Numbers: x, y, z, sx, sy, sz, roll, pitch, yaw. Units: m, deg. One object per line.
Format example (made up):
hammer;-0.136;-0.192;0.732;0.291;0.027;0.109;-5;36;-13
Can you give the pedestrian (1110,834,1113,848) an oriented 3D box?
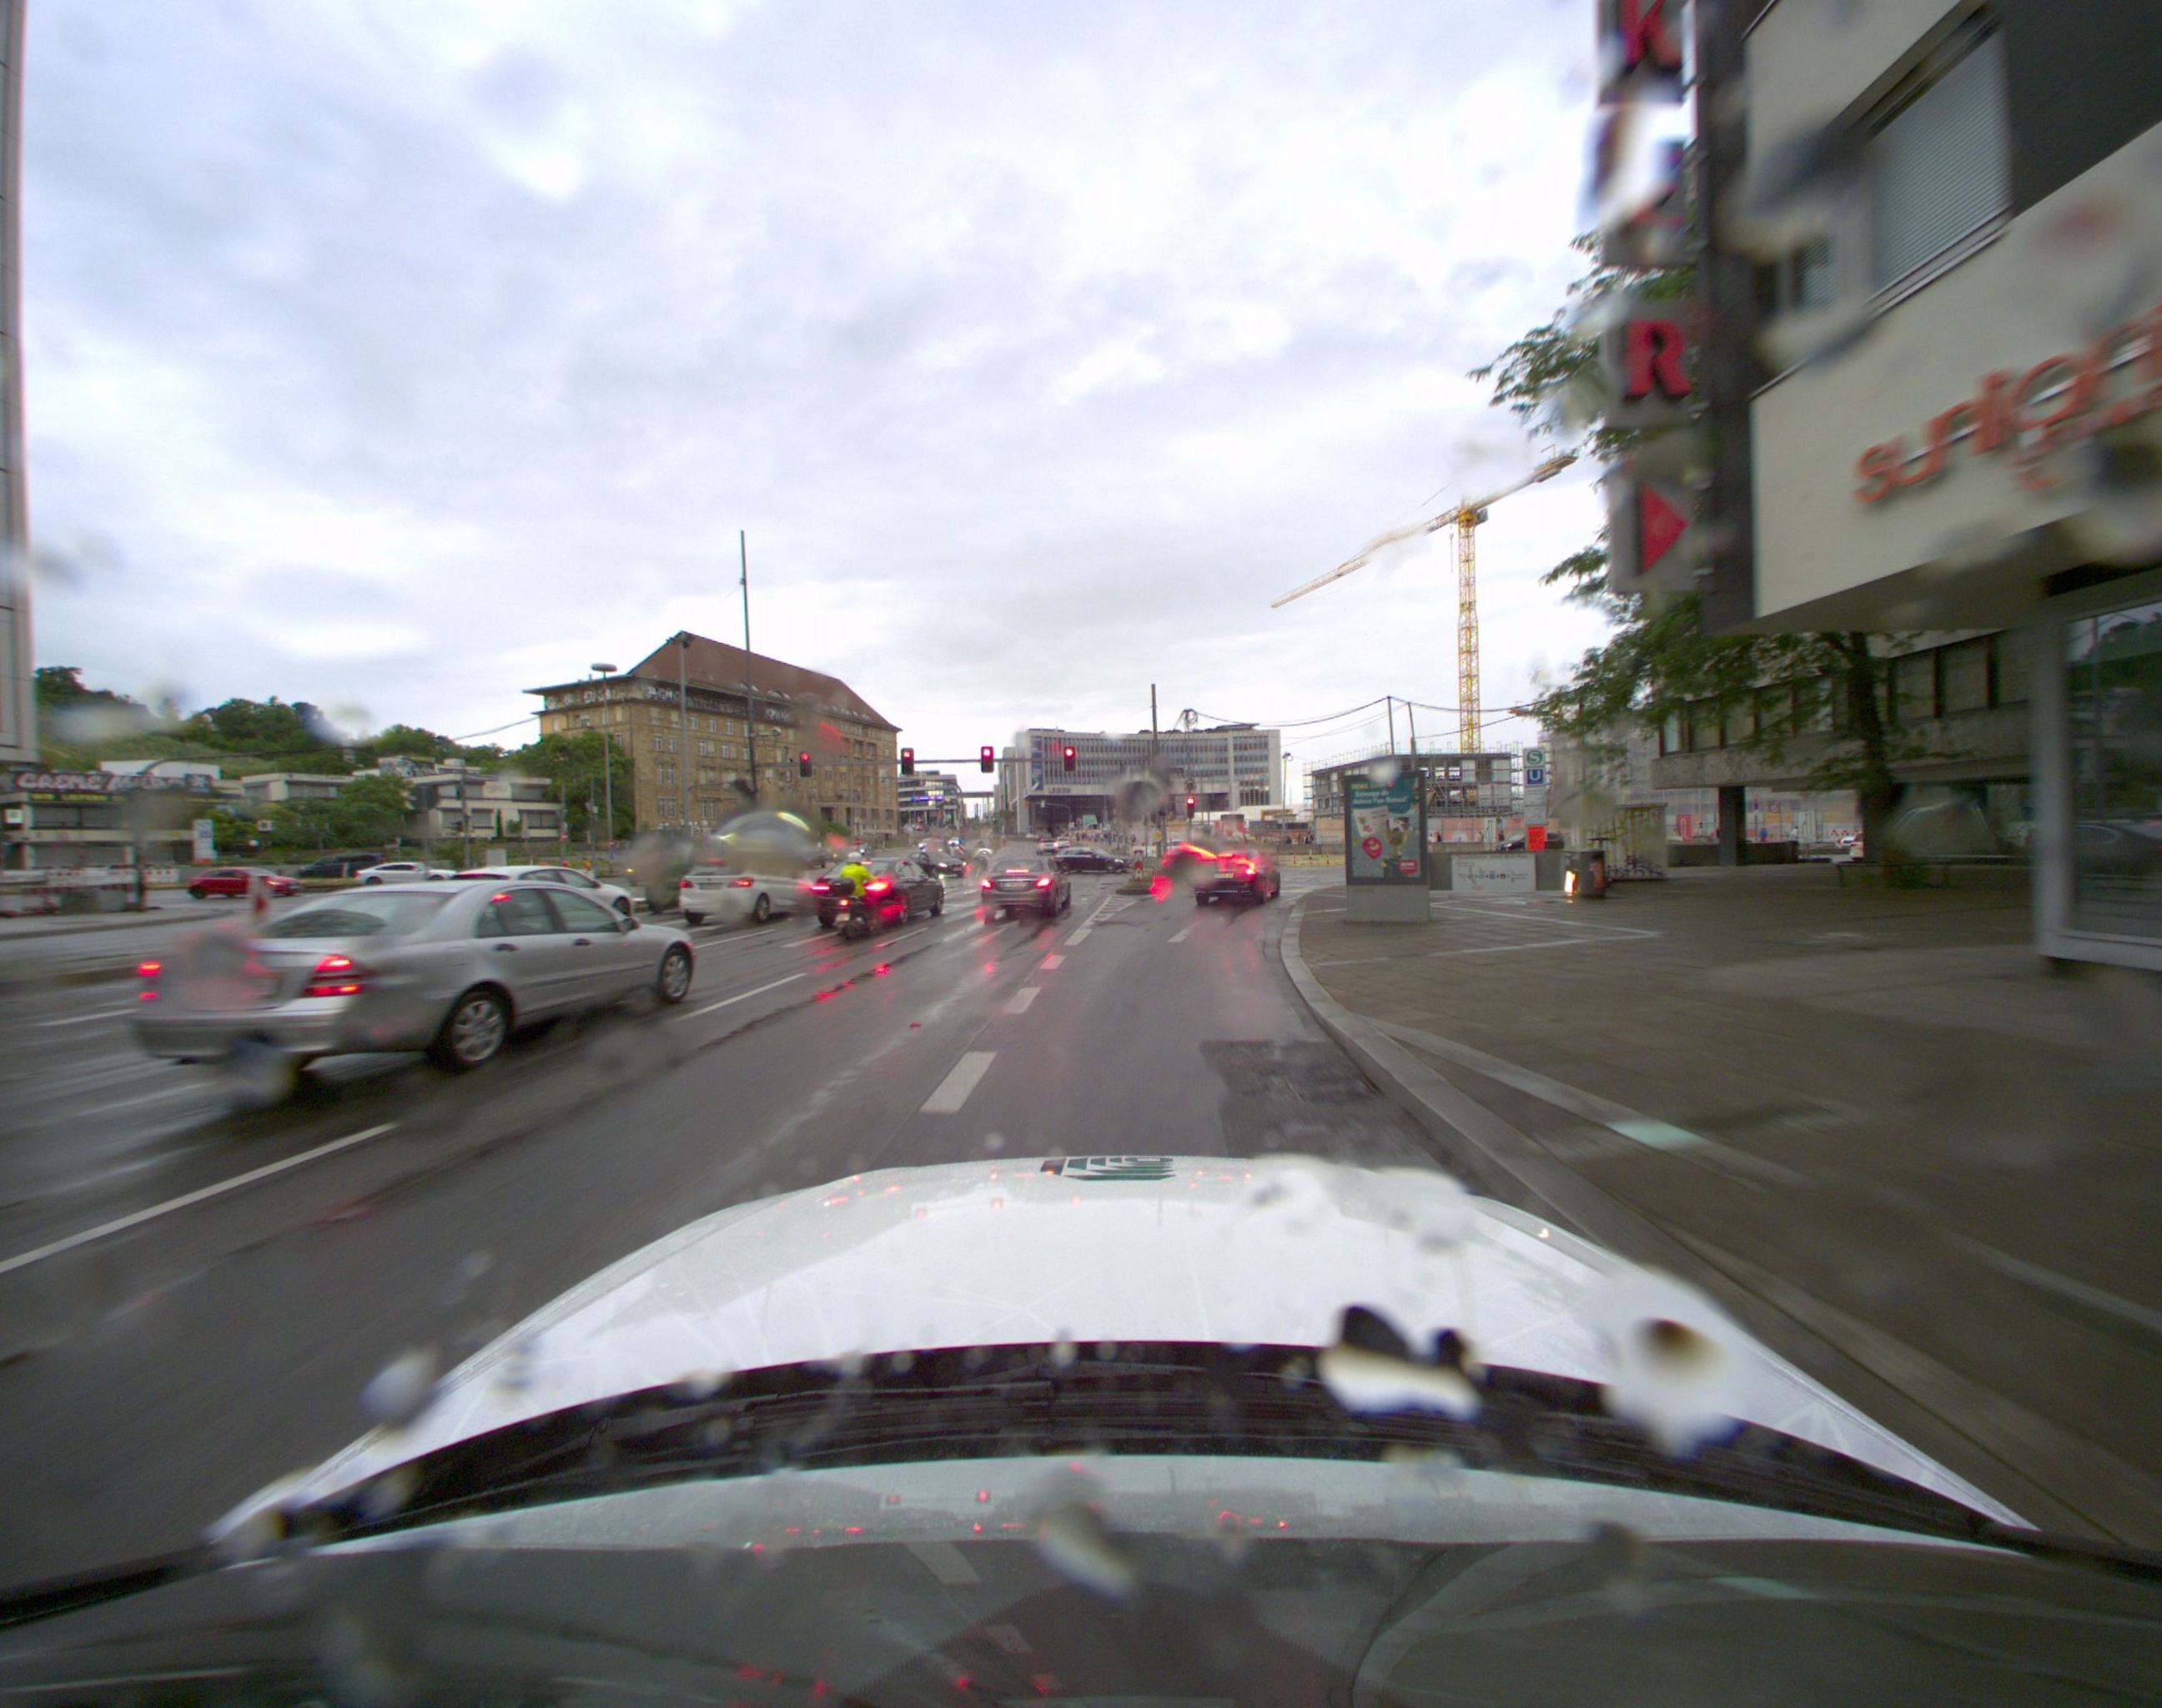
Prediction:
pedestrian;4.143;-1.768;111.779;0.361;1.898;0.575;-1;-1;-6

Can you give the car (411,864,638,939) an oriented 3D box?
car;-11.542;0.918;17.268;1.774;1.373;4.000;-1;0;6

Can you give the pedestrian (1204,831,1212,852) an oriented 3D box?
pedestrian;11.446;-1.127;73.352;0.364;1.898;0.570;-2;0;-38

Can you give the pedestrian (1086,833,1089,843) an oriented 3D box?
pedestrian;1.237;-3.128;155.148;0.361;1.898;0.575;-1;-1;-6

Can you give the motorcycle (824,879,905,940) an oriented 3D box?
motorcycle;-4.144;1.033;15.781;0.939;0.989;2.294;-1;0;0

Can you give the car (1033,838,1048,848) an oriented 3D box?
car;-8.193;-2.195;165.310;1.999;2.014;3.975;0;-1;-18

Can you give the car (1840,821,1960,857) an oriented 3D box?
car;39.025;-0.709;38.873;3.981;1.640;1.996;-1;-1;-6

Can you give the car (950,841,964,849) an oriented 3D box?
car;-21.850;-1.592;143.545;1.762;1.260;3.998;-1;0;-1

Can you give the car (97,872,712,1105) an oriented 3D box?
car;-5.300;0.903;7.360;1.725;1.404;4.386;-1;0;3

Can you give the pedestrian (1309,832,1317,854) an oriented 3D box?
pedestrian;20.538;-0.984;72.190;0.572;1.898;0.362;-1;-1;3

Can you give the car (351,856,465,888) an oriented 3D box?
car;-36.968;0.974;44.880;4.393;1.662;1.988;-1;-1;-18

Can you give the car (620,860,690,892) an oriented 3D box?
car;-22.551;1.149;43.304;1.693;1.519;3.872;-3;0;-1

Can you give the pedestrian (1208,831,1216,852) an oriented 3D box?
pedestrian;11.835;-1.149;73.686;0.364;1.898;0.570;0;-1;-39

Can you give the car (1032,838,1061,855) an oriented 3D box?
car;-3.531;-0.731;83.122;1.999;1.640;3.976;0;-1;-17

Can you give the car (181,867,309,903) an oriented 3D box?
car;-39.267;1.430;38.351;3.984;1.596;1.671;-1;-1;-8

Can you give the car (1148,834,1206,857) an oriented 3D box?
car;7.839;-0.658;66.619;4.368;1.766;2.010;-1;-1;19

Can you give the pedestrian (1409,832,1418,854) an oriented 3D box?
pedestrian;28.939;-0.954;70.877;0.573;1.898;0.362;-1;-1;0

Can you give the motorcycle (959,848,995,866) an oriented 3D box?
motorcycle;-6.722;0.200;52.778;2.120;1.108;0.854;-1;-1;14

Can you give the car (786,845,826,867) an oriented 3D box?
car;-20.420;0.146;60.567;1.798;1.574;4.069;-1;0;-3

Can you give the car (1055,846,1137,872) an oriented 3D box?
car;0.817;0.276;45.154;4.060;1.345;2.012;-1;-1;28

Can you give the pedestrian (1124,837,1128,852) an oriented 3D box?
pedestrian;5.500;-1.178;100.357;0.361;1.898;0.574;-1;-1;-10

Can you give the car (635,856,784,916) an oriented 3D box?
car;-10.696;0.866;23.813;1.770;1.599;4.088;-1;-1;14

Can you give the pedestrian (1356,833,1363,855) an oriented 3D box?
pedestrian;25.136;-0.900;73.489;0.571;1.898;0.363;-1;-1;6

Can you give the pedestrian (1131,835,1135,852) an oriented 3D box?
pedestrian;5.889;-1.222;92.401;0.362;1.898;0.573;0;-1;-15

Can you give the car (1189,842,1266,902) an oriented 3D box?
car;4.224;0.496;23.094;1.878;1.544;4.008;-1;0;14

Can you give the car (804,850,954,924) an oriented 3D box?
car;-4.582;0.708;19.378;1.878;1.515;5.010;-1;0;5

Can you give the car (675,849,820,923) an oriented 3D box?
car;-8.024;0.727;20.036;1.725;1.616;4.003;-1;0;3

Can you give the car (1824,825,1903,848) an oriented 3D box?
car;55.915;-1.214;58.233;4.038;1.552;1.994;-1;-1;-8

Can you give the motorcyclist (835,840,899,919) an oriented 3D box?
motorcyclist;-4.148;0.481;15.849;0.938;1.475;1.100;-1;-1;0

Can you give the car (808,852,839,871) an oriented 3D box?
car;-23.190;0.661;73.508;1.693;1.519;3.552;-3;0;-1

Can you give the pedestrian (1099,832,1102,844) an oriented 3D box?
pedestrian;3.054;-2.420;125.081;0.361;1.898;0.575;-1;-1;-6

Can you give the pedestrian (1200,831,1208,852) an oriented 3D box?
pedestrian;11.052;-1.144;73.122;0.364;1.898;0.569;0;-1;-42

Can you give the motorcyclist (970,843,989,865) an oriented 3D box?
motorcyclist;-6.588;-0.001;52.733;0.938;1.358;0.853;-1;-1;14

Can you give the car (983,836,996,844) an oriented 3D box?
car;-22.052;-3.321;195.894;2.001;1.816;3.971;0;-1;-21

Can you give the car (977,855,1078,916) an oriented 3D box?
car;-1.250;0.745;20.956;1.774;1.402;4.495;-1;0;7

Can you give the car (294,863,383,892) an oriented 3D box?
car;-53.148;1.660;58.415;4.227;2.014;1.986;0;-1;-21

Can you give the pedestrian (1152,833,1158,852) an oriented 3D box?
pedestrian;7.258;-1.134;79.856;0.364;1.898;0.570;0;-1;-36

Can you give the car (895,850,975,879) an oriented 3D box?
car;-8.001;0.567;44.554;4.059;1.507;2.013;-1;-1;34

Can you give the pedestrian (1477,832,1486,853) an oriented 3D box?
pedestrian;35.644;-1.022;72.513;0.573;1.898;0.362;-1;-1;-2

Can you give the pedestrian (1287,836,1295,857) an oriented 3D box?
pedestrian;19.041;-0.695;73.774;0.569;1.898;0.364;-1;-1;25

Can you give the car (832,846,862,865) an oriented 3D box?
car;-20.526;0.133;71.577;1.694;1.574;3.995;-1;0;-3

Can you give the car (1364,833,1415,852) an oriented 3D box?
car;24.466;-0.887;64.642;3.527;1.473;1.790;-1;-1;8

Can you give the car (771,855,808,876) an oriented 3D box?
car;-23.557;0.926;65.939;1.694;1.574;3.995;-1;0;-3

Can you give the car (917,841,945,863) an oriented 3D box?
car;-13.050;-0.121;70.911;1.991;1.797;5.091;-1;0;-6

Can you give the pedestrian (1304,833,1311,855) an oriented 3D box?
pedestrian;19.891;-0.895;71.514;0.571;1.898;0.363;-1;-1;6

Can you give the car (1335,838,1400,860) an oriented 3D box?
car;18.050;-0.322;51.392;3.531;1.304;1.662;-1;-1;-8

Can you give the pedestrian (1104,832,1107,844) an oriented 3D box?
pedestrian;3.735;-2.437;125.184;0.361;1.898;0.575;-1;-1;-6

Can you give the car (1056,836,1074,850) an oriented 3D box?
car;-2.083;-1.429;102.628;1.728;1.639;3.423;-1;3;-11

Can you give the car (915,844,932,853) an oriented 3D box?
car;-23.119;-0.792;119.673;1.762;1.260;4.192;-1;0;-1

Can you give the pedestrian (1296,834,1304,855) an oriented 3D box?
pedestrian;19.732;-0.858;73.327;0.572;1.898;0.362;-1;-1;1
